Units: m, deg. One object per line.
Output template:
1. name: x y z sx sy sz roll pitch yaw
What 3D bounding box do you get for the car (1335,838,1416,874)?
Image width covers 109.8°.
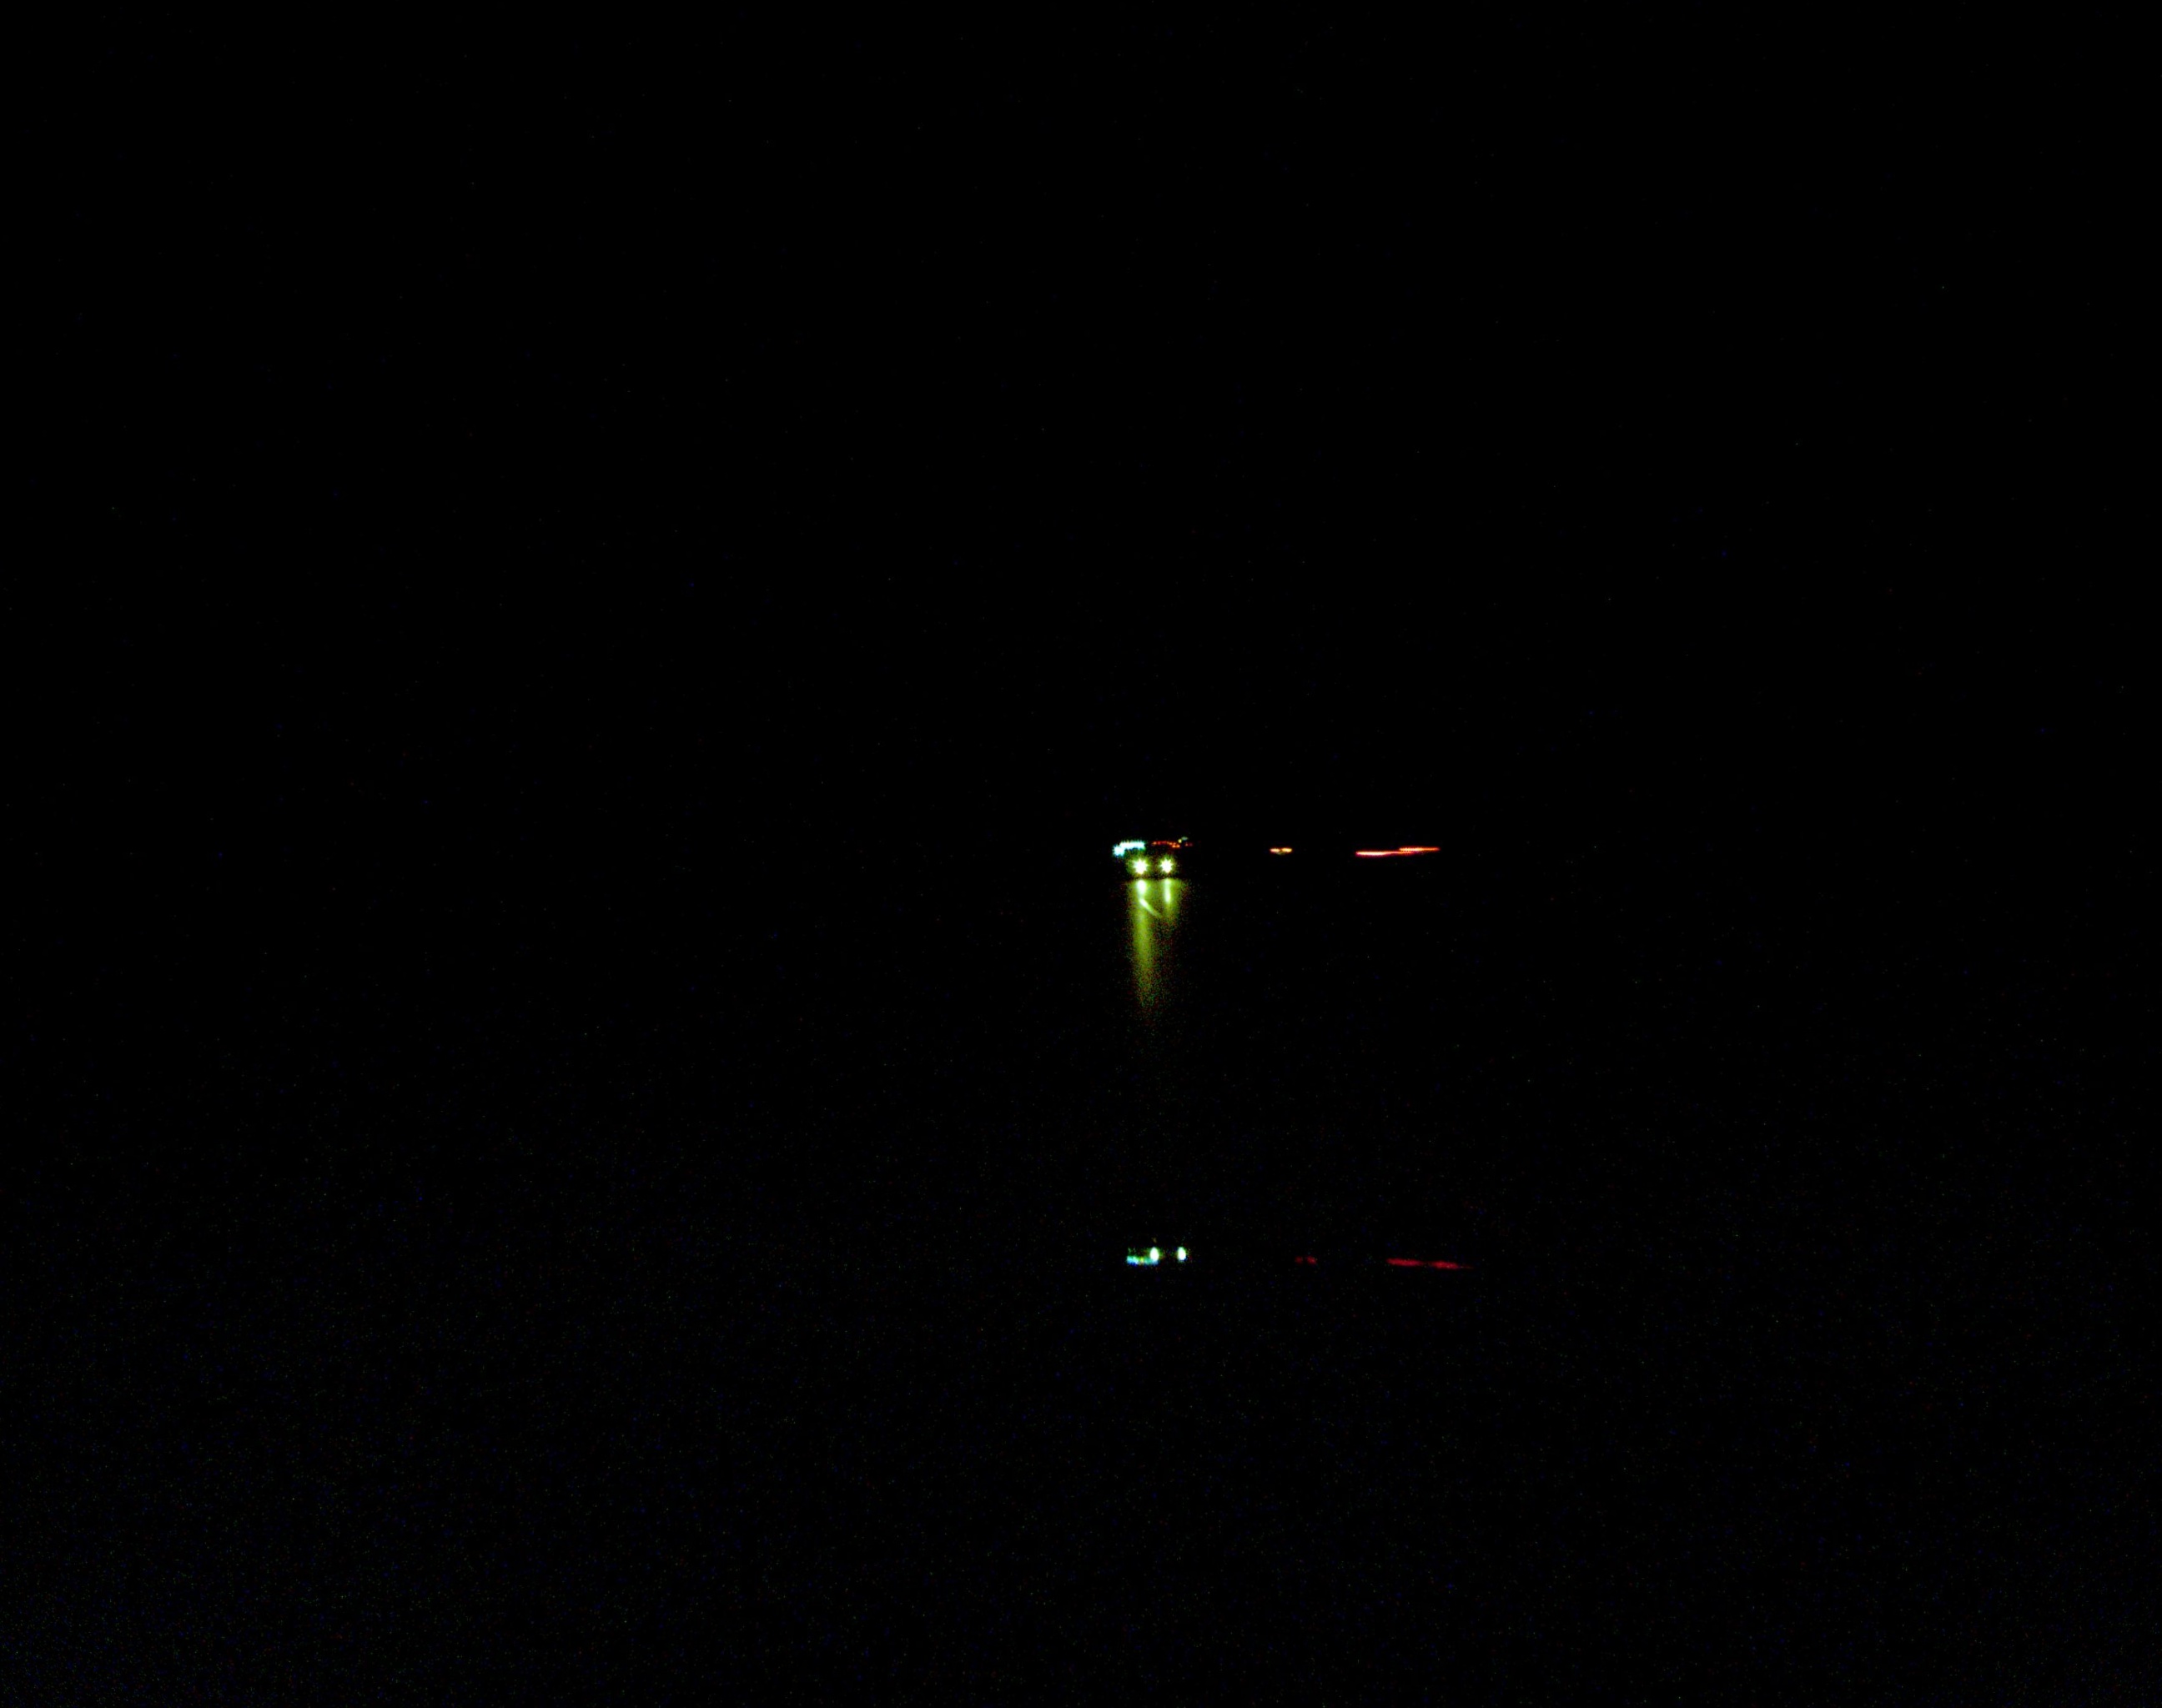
1. car: 15.747 0.108 41.022 2.124 1.711 5.626 -3 0 -1

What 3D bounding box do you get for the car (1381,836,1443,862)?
1. car: 24.115 -0.369 55.560 2.124 1.711 5.191 -3 0 -1

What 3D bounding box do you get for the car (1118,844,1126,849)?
1. car: 12.092 -2.222 224.668 1.998 1.653 4.000 -2 1 2

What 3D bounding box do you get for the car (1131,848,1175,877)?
1. car: 4.276 0.486 45.851 1.999 1.509 5.650 -3 0 -1

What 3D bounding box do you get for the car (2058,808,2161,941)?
1. car: 15.085 0.236 8.071 2.124 1.711 5.626 -3 0 -1

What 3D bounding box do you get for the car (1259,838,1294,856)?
1. car: 20.918 -0.740 81.476 2.124 1.711 5.626 -3 0 -1
